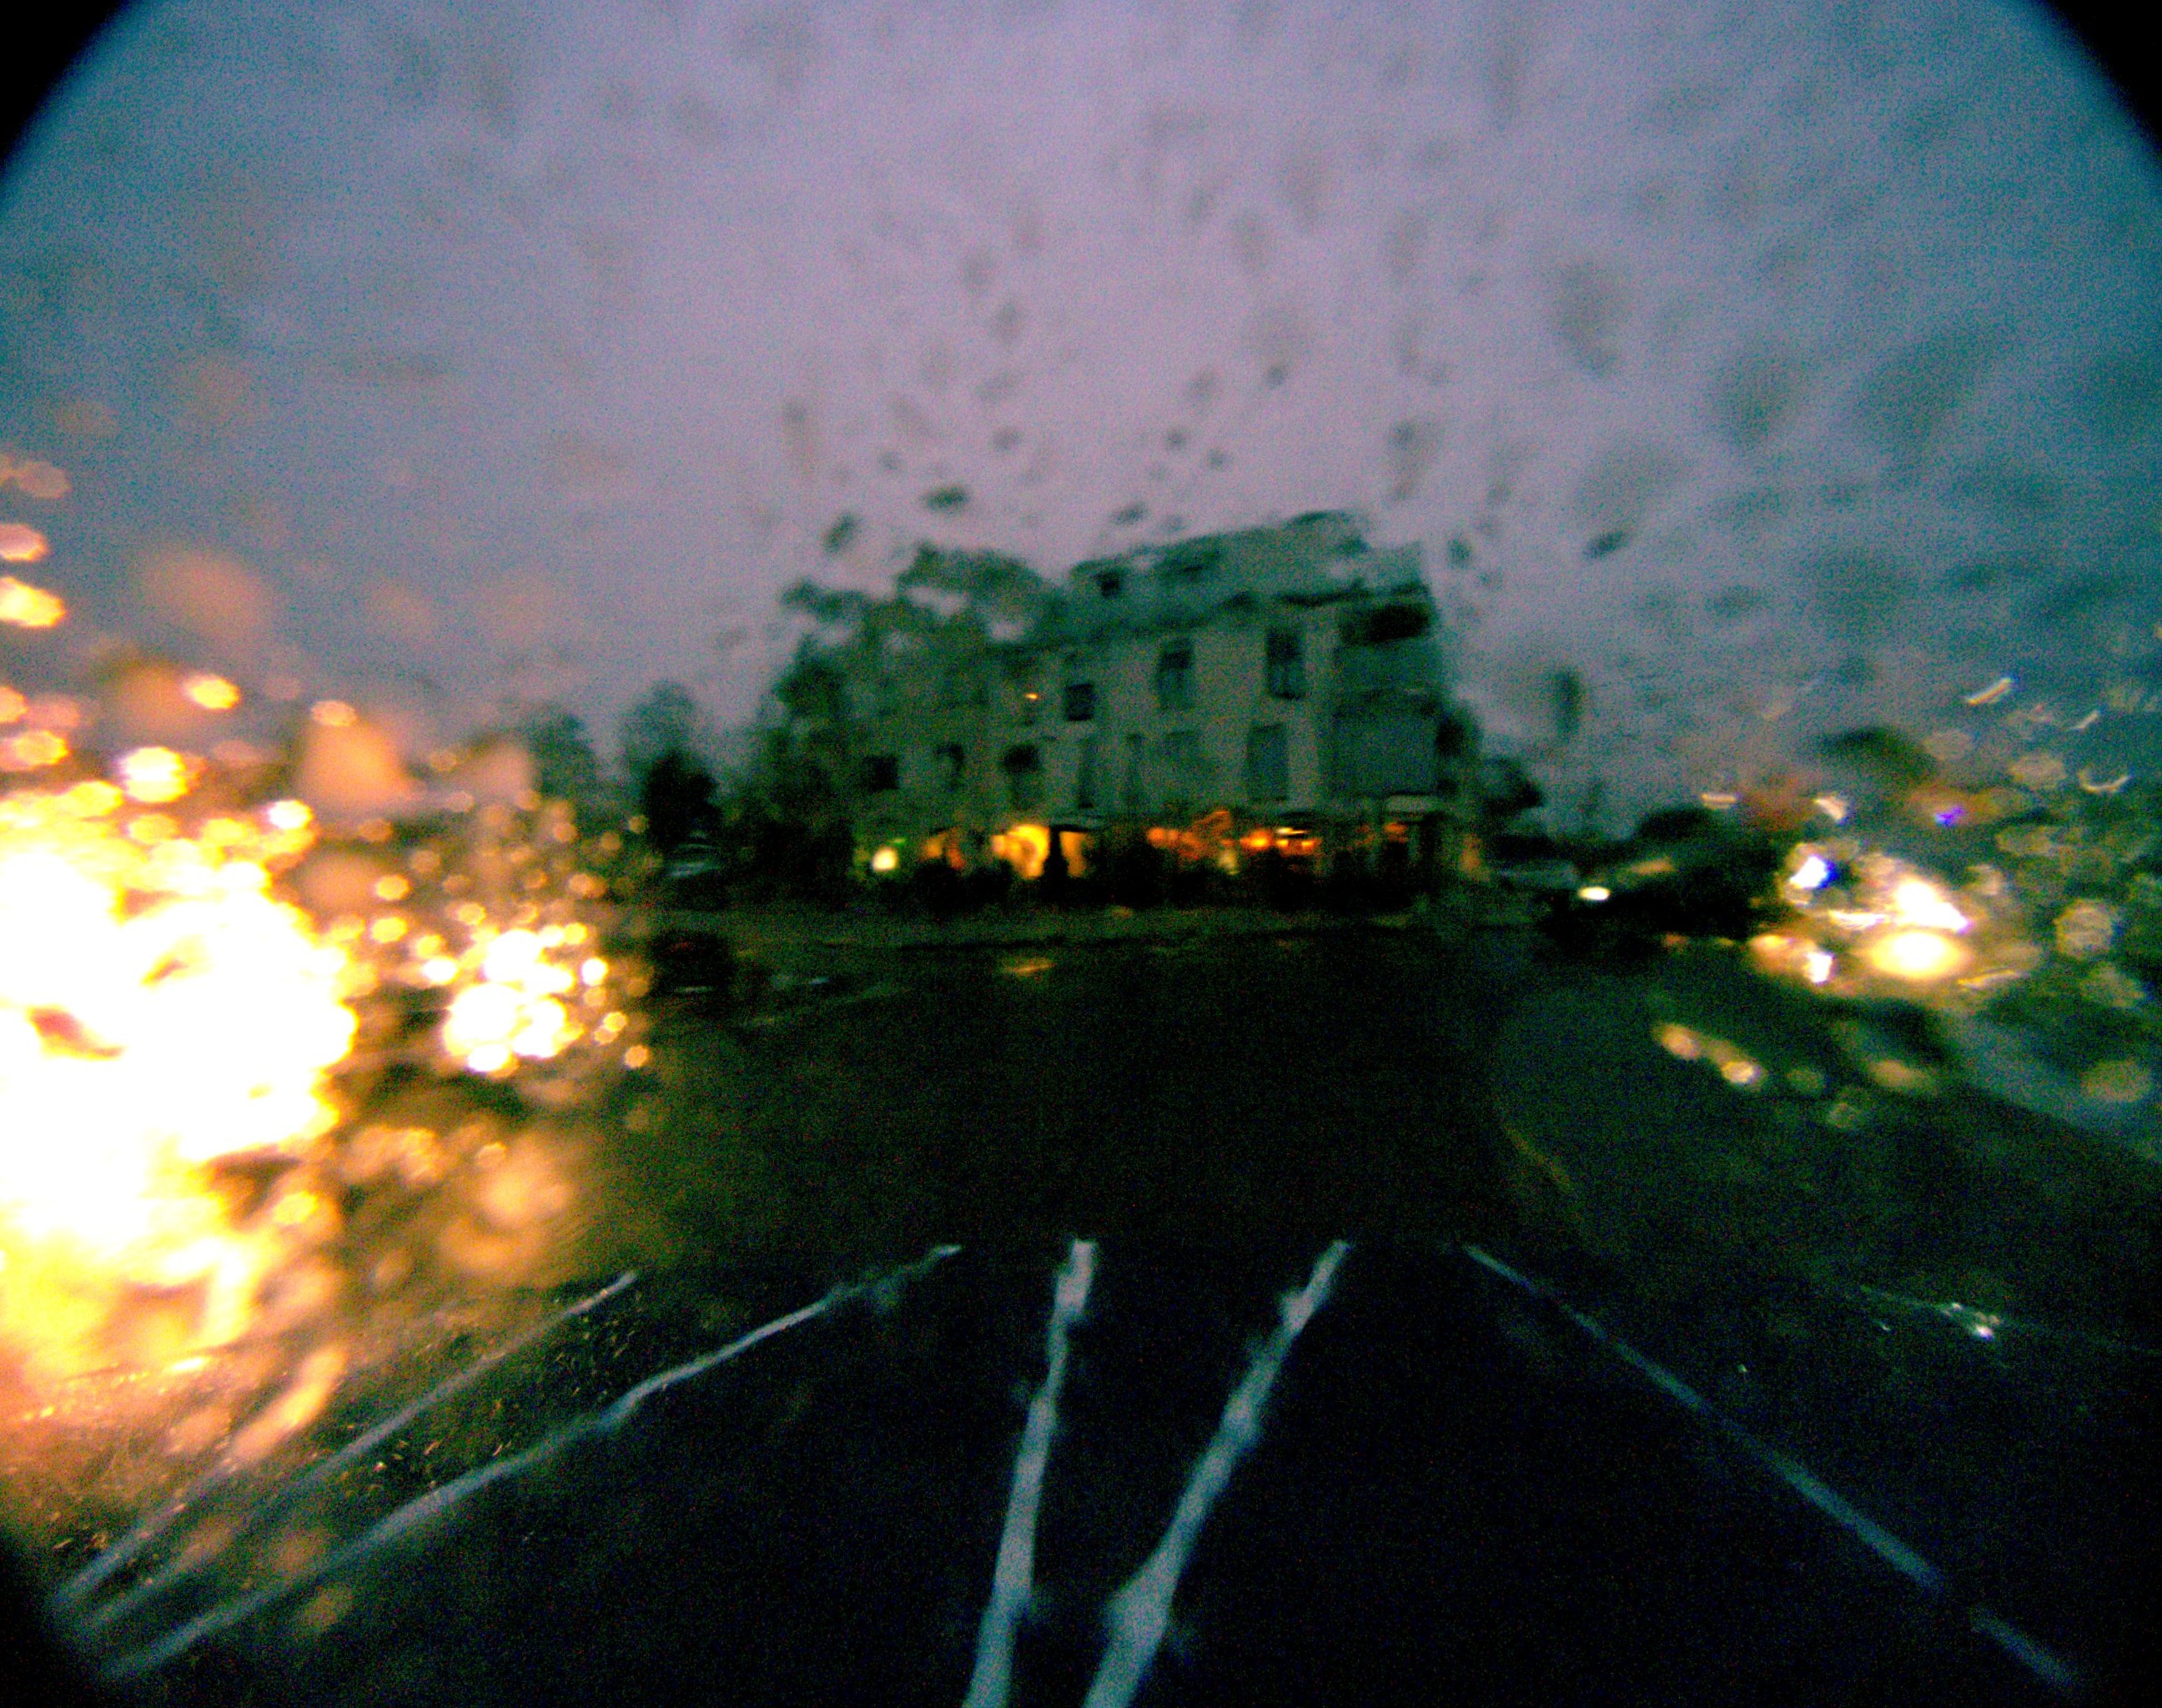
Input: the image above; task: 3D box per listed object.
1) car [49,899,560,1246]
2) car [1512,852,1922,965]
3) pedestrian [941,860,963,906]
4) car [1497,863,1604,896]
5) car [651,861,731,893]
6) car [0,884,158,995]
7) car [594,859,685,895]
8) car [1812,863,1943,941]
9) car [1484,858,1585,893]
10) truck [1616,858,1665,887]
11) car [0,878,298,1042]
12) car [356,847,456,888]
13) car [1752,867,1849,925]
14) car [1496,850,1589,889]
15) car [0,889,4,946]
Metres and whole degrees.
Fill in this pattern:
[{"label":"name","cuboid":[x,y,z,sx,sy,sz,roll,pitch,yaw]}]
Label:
[{"label":"car","cuboid":[-5.765,1.138,5.500,4.223,1.376,1.854,-1,2,35]},{"label":"car","cuboid":[9.648,0.824,11.906,4.627,1.583,1.955,-1,-2,4]},{"label":"pedestrian","cuboid":[-4.089,0.919,24.115,0.451,1.446,0.554,0,0,21]},{"label":"car","cuboid":[24.075,1.297,39.159,4.510,1.483,1.979,1,-2,28]},{"label":"car","cuboid":[-18.600,1.083,36.221,3.436,1.465,1.522,0,0,22]},{"label":"car","cuboid":[-17.141,1.304,12.596,4.246,1.499,1.700,-1,1,31]},{"label":"car","cuboid":[-19.595,1.007,33.686,3.757,1.507,1.719,-1,0,27]},{"label":"car","cuboid":[18.227,1.007,17.547,1.884,1.569,4.009,1,0,44]},{"label":"car","cuboid":[22.082,0.995,37.146,3.989,1.495,1.816,2,1,23]},{"label":"truck","cuboid":[44.832,1.445,61.039,2.243,2.217,6.116,0,-1,27]},{"label":"car","cuboid":[-11.501,1.142,9.163,3.990,1.543,1.700,-2,0,27]},{"label":"car","cuboid":[-34.448,0.681,38.768,4.846,2.002,2.218,-1,0,27]},{"label":"car","cuboid":[22.527,1.248,23.919,1.678,1.614,4.009,0,-1,35]},{"label":"car","cuboid":[27.617,0.905,45.670,4.539,1.923,1.979,6,2,30]},{"label":"car","cuboid":[-29.965,1.644,19.623,3.990,1.444,1.886,-1,-1,26]}]
